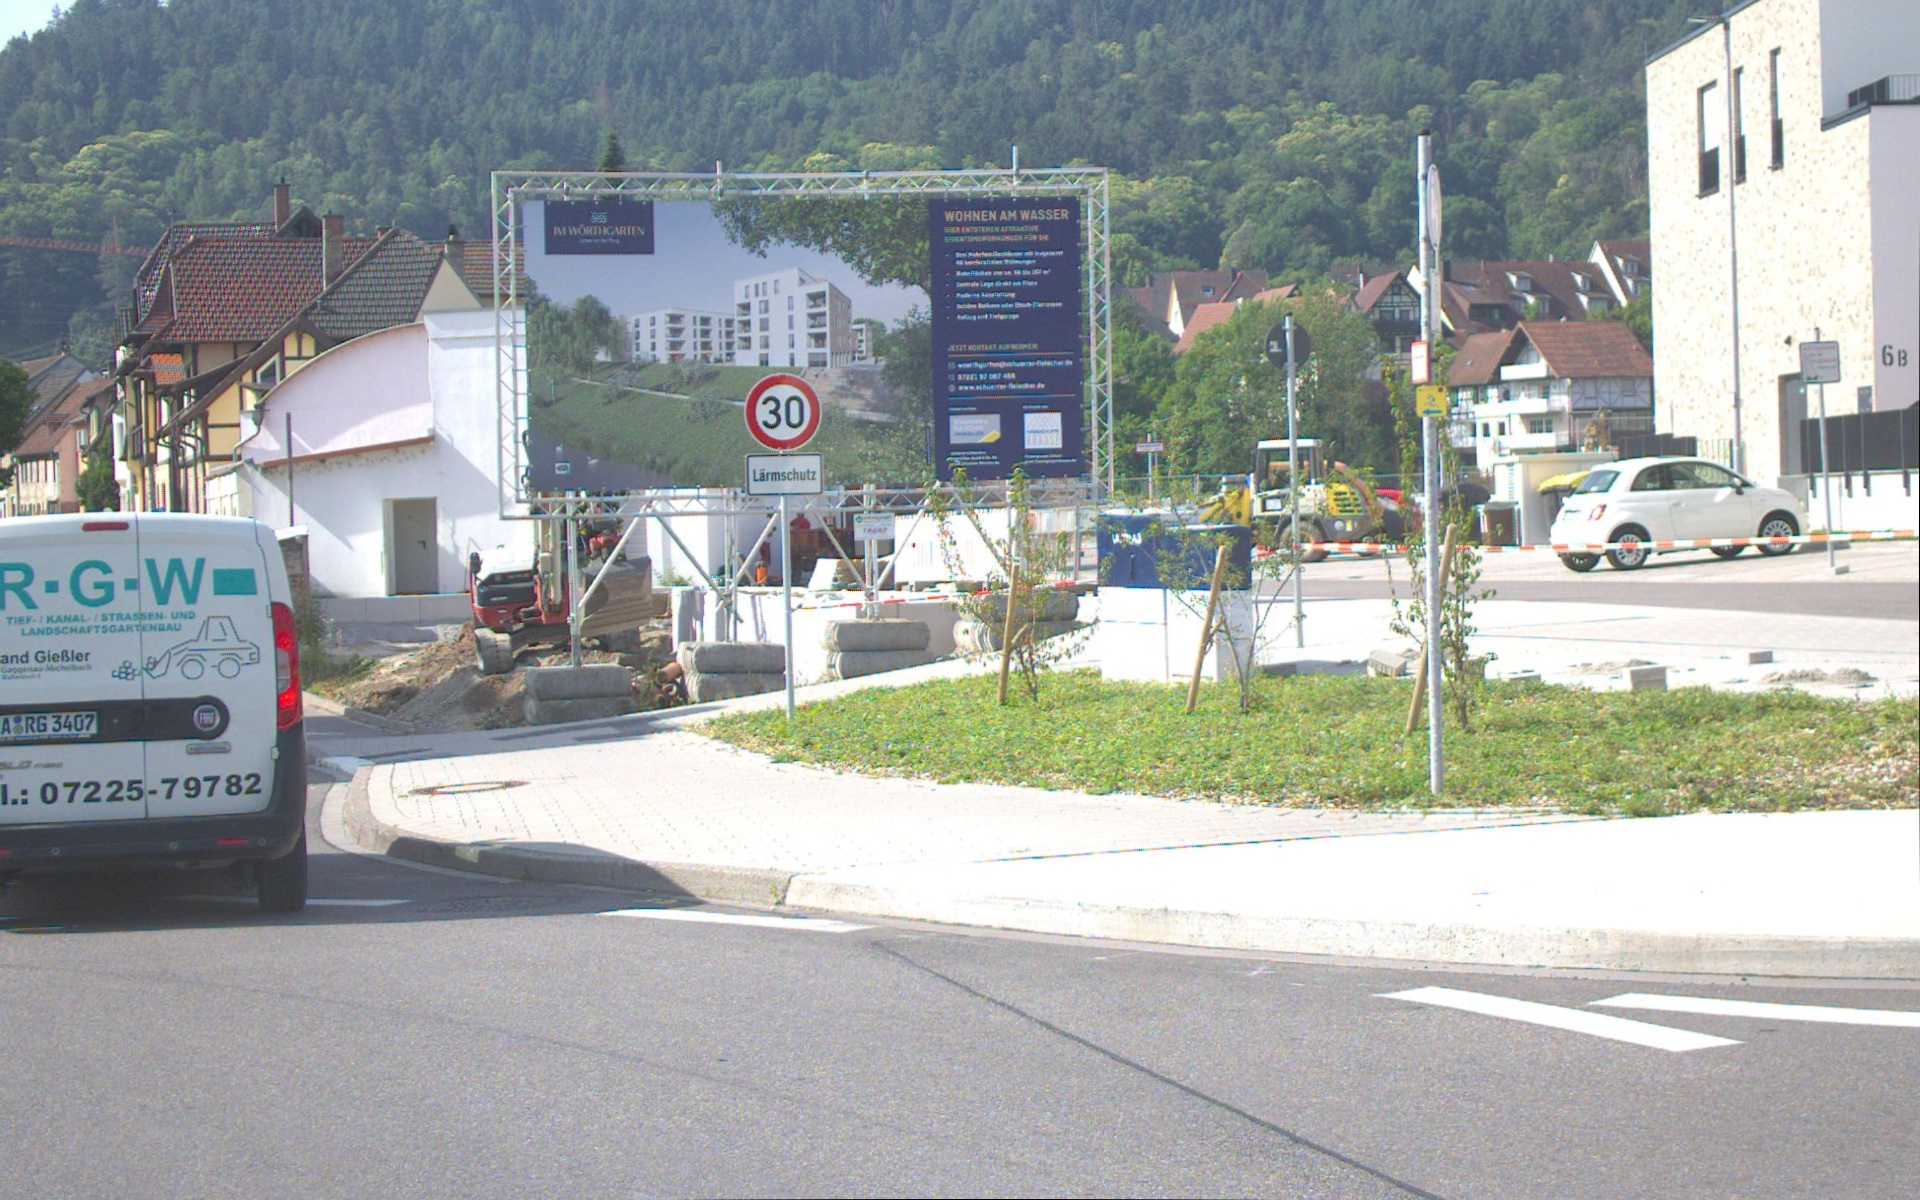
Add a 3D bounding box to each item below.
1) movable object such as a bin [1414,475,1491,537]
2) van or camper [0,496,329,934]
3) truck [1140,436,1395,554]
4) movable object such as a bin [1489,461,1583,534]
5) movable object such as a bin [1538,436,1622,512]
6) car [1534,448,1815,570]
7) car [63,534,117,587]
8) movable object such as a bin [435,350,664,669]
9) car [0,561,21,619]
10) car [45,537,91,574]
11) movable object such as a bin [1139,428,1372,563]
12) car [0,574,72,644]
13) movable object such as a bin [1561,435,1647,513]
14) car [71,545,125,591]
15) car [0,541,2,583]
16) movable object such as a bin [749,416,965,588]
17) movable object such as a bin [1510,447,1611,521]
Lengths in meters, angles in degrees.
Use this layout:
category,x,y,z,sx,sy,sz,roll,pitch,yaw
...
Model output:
category,x,y,z,sx,sy,sz,roll,pitch,yaw
movable object such as a bin,10.385,-1.985,72.532,1.295,1.263,1.320,1,2,-6
van or camper,-4.313,0.530,16.944,1.827,1.838,4.189,-3,0,-17
truck,6.799,-2.303,75.732,5.317,2.258,2.218,-3,1,10
movable object such as a bin,11.831,-2.110,70.653,1.579,1.459,1.320,1,2,-6
movable object such as a bin,12.217,-2.477,67.808,1.299,1.459,1.320,1,2,-6
car,9.925,-1.266,47.801,3.404,1.490,1.595,-3,0,-16
car,-34.147,-1.558,134.865,1.871,2.006,4.001,-1,2,-16
movable object such as a bin,-5.551,-1.133,45.457,2.294,3.841,7.801,0,1,-12
car,-28.092,-0.309,99.194,1.810,1.591,3.928,0,2,-14
car,-39.023,-1.973,150.400,1.669,1.503,4.001,-3,2,-18
movable object such as a bin,6.242,-2.184,72.394,4.614,2.560,1.924,-3,1,10
car,-22.996,0.199,85.223,1.810,1.591,3.928,0,2,-13
movable object such as a bin,12.394,-2.425,66.214,1.299,1.459,1.320,1,2,-6
car,-31.451,-1.190,125.359,1.810,1.591,3.928,0,2,-16
car,-38.247,-1.513,133.627,1.810,1.591,3.928,0,2,-18
movable object such as a bin,-2.194,-2.162,75.566,2.852,3.609,5.731,1,2,19
movable object such as a bin,12.103,-2.334,69.353,1.693,1.459,1.320,1,2,-6
